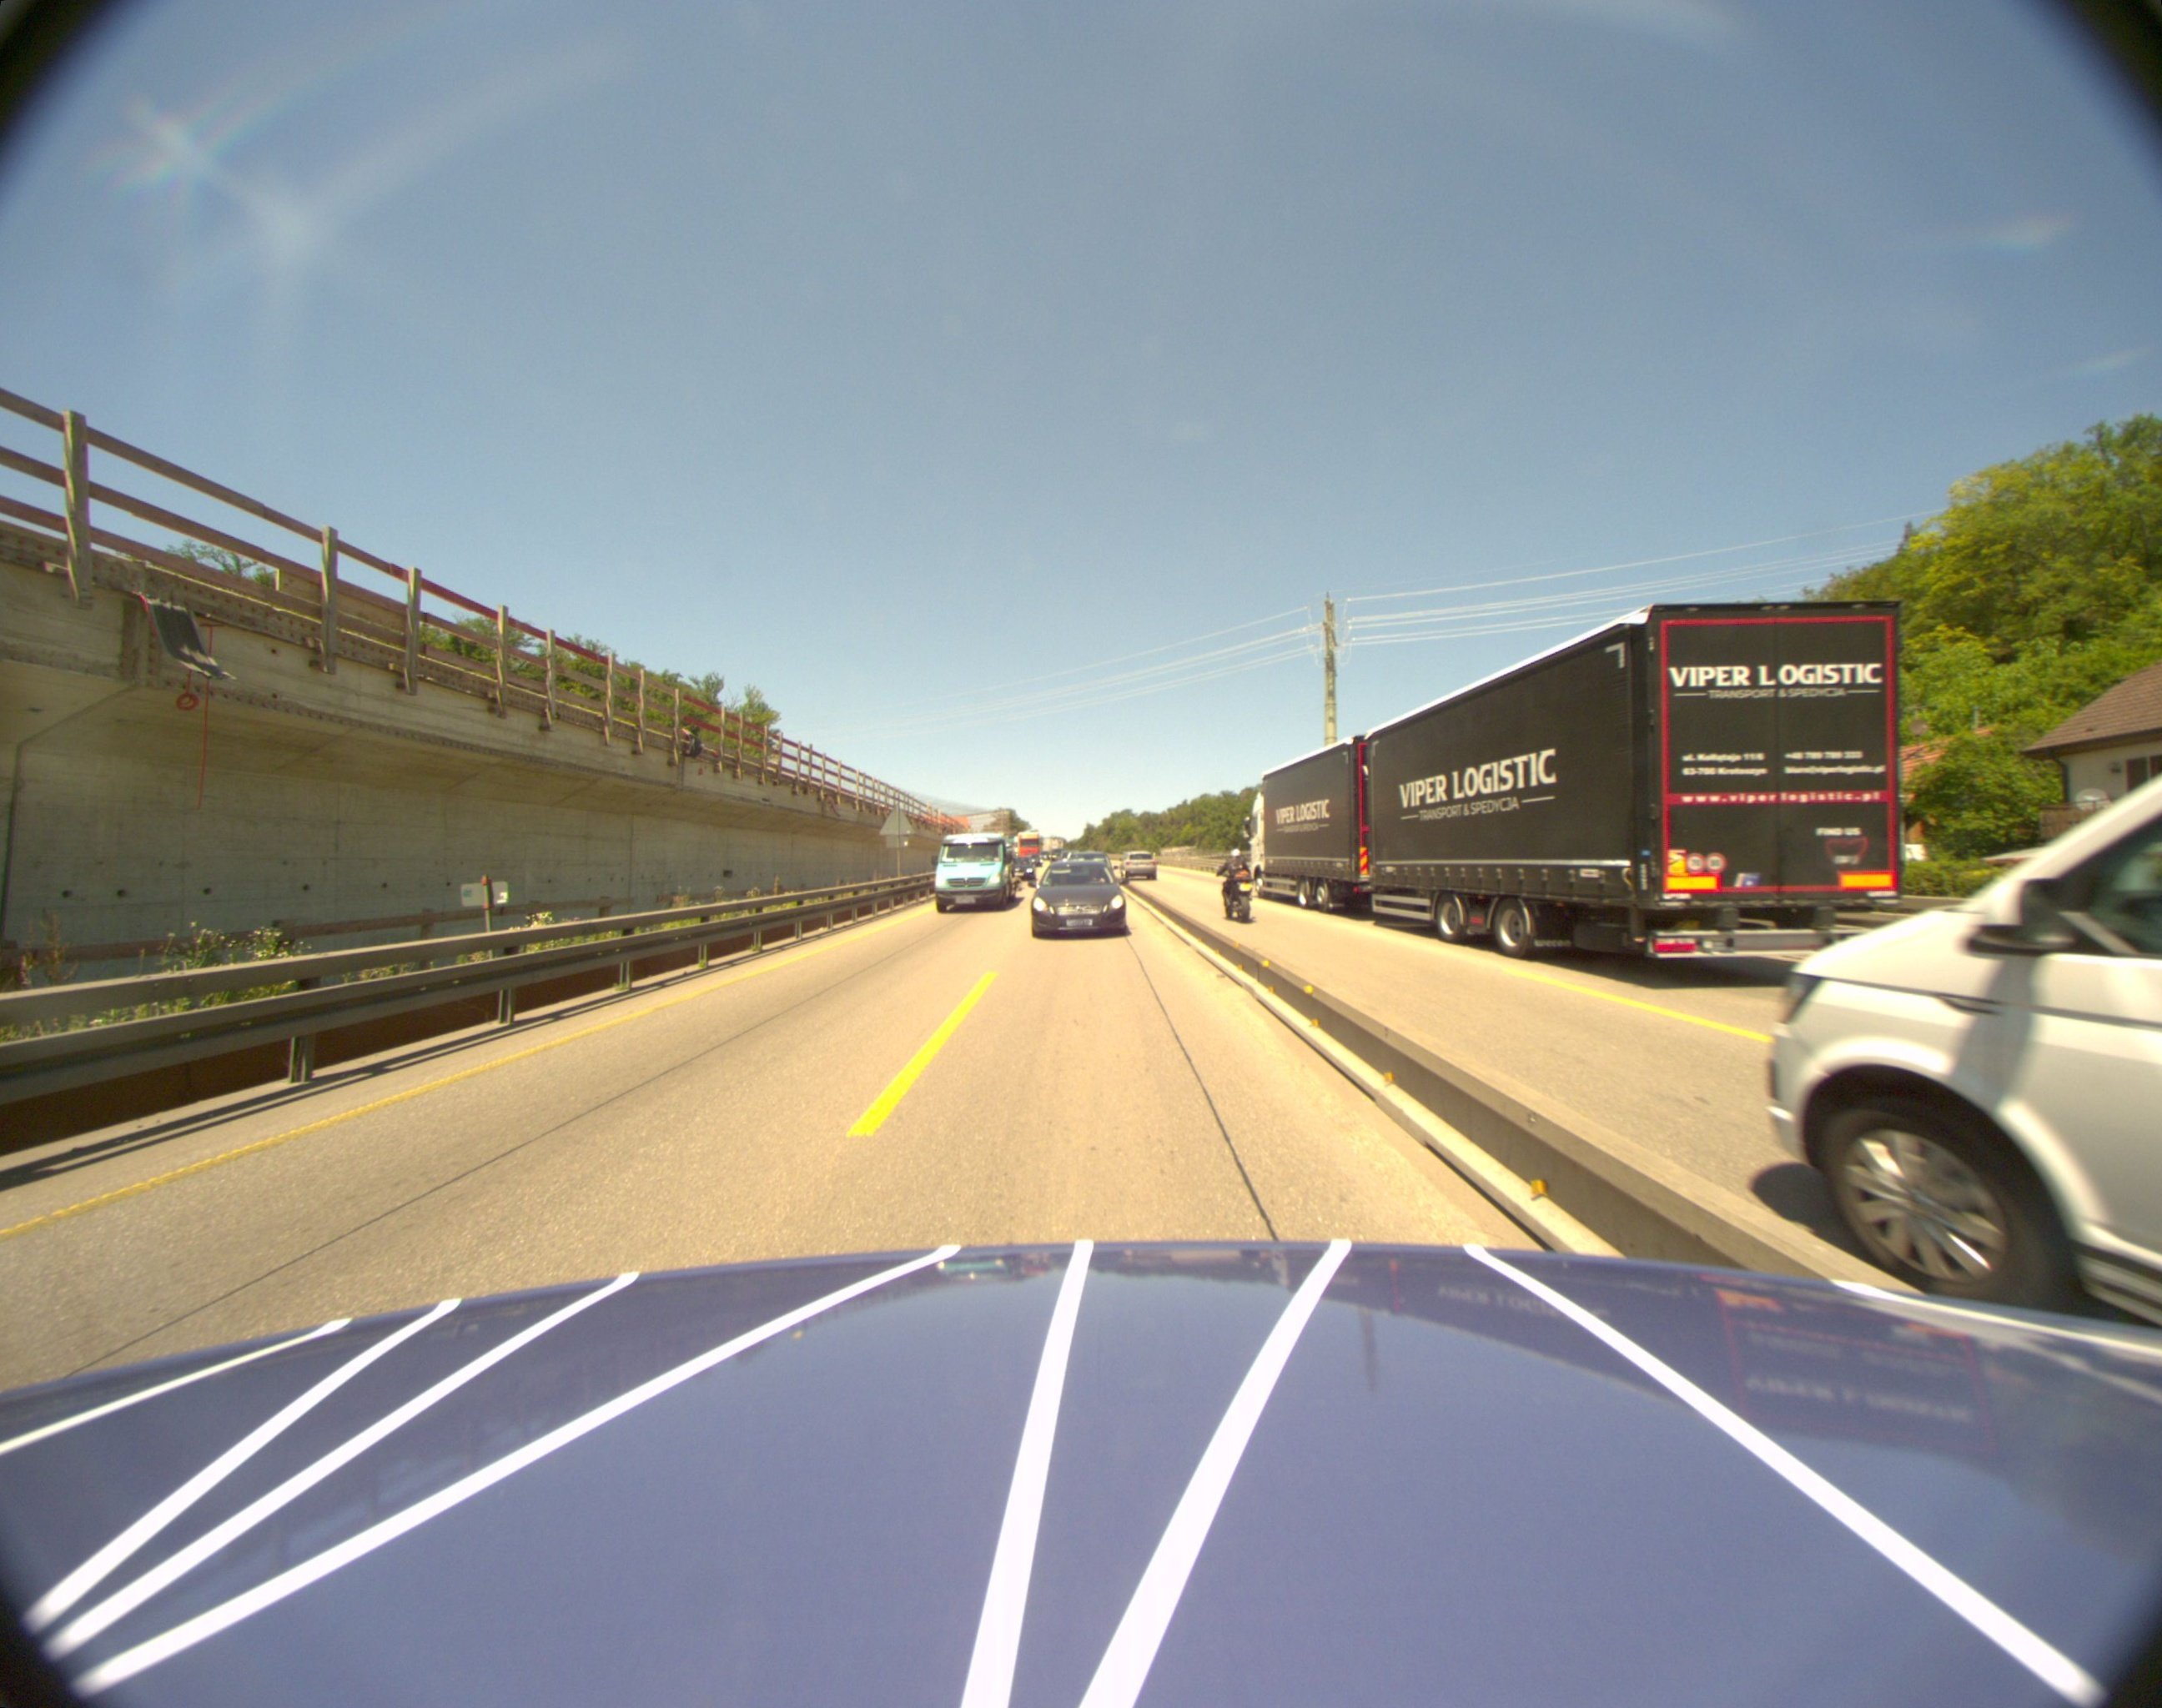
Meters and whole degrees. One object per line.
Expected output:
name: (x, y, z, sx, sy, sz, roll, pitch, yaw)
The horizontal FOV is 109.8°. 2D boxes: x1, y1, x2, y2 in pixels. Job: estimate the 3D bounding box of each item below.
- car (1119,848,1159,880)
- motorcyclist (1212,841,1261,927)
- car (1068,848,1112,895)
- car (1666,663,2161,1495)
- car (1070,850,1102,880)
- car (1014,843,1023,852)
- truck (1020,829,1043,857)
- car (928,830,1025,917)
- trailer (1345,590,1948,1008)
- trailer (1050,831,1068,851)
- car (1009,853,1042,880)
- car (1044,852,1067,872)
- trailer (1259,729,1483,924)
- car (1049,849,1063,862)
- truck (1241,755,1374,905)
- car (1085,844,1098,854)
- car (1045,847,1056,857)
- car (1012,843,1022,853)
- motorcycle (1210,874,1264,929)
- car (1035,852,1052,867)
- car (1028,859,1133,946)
car: (3.207, 0.524, 42.731, 1.864, 1.602, 4.067, -2, 1, -1)
motorcyclist: (3.470, 0.651, 17.041, 0.855, 1.844, 0.983, -2, 1, 0)
car: (0.277, 0.605, 28.452, 1.520, 1.543, 3.859, -1, 1, -1)
car: (3.518, 0.522, 0.811, 2.027, 1.949, 4.897, -2, 1, 0)
car: (0.261, 0.630, 45.196, 1.736, 1.558, 3.618, -2, 1, -2)
car: (-12.621, -1.344, 153.728, 1.586, 1.666, 3.343, -2, 1, -1)
truck: (-6.640, -1.485, 100.868, 2.472, 3.464, 9.860, -2, 1, -6)
car: (-3.061, 0.453, 23.834, 2.217, 2.313, 6.899, -1, 1, -2)
trailer: (7.110, -0.521, 11.835, 2.764, 4.046, 8.634, -2, 0, -1)
trailer: (-5.118, -2.980, 176.303, 3.261, 4.354, 14.049, -2, 1, -4)
car: (-3.253, 0.728, 44.815, 1.739, 1.401, 3.584, -2, 1, -2)
car: (-1.941, 0.560, 58.221, 1.647, 1.366, 3.343, -2, 1, -1)
trailer: (7.119, -0.556, 20.187, 2.764, 4.046, 8.007, -2, 0, 0)
car: (-3.052, 0.173, 91.961, 1.586, 1.366, 3.343, -2, 1, -1)
truck: (7.085, -0.706, 24.482, 2.759, 4.258, 4.957, -2, 0, 1)
car: (1.653, -0.814, 120.987, 1.846, 1.410, 4.685, 0, 1, -1)
car: (-4.780, -0.307, 119.502, 1.586, 1.366, 3.343, -2, 1, -1)
car: (-11.128, -1.131, 132.407, 1.586, 1.660, 3.343, -2, 1, -1)
motorcycle: (3.478, 1.034, 17.101, 0.788, 1.073, 1.912, -2, 0, 0)
car: (-3.946, 0.562, 79.856, 1.647, 1.366, 3.343, -2, 1, -1)
car: (-0.171, 0.882, 15.988, 1.844, 1.475, 4.560, -1, 1, -4)
